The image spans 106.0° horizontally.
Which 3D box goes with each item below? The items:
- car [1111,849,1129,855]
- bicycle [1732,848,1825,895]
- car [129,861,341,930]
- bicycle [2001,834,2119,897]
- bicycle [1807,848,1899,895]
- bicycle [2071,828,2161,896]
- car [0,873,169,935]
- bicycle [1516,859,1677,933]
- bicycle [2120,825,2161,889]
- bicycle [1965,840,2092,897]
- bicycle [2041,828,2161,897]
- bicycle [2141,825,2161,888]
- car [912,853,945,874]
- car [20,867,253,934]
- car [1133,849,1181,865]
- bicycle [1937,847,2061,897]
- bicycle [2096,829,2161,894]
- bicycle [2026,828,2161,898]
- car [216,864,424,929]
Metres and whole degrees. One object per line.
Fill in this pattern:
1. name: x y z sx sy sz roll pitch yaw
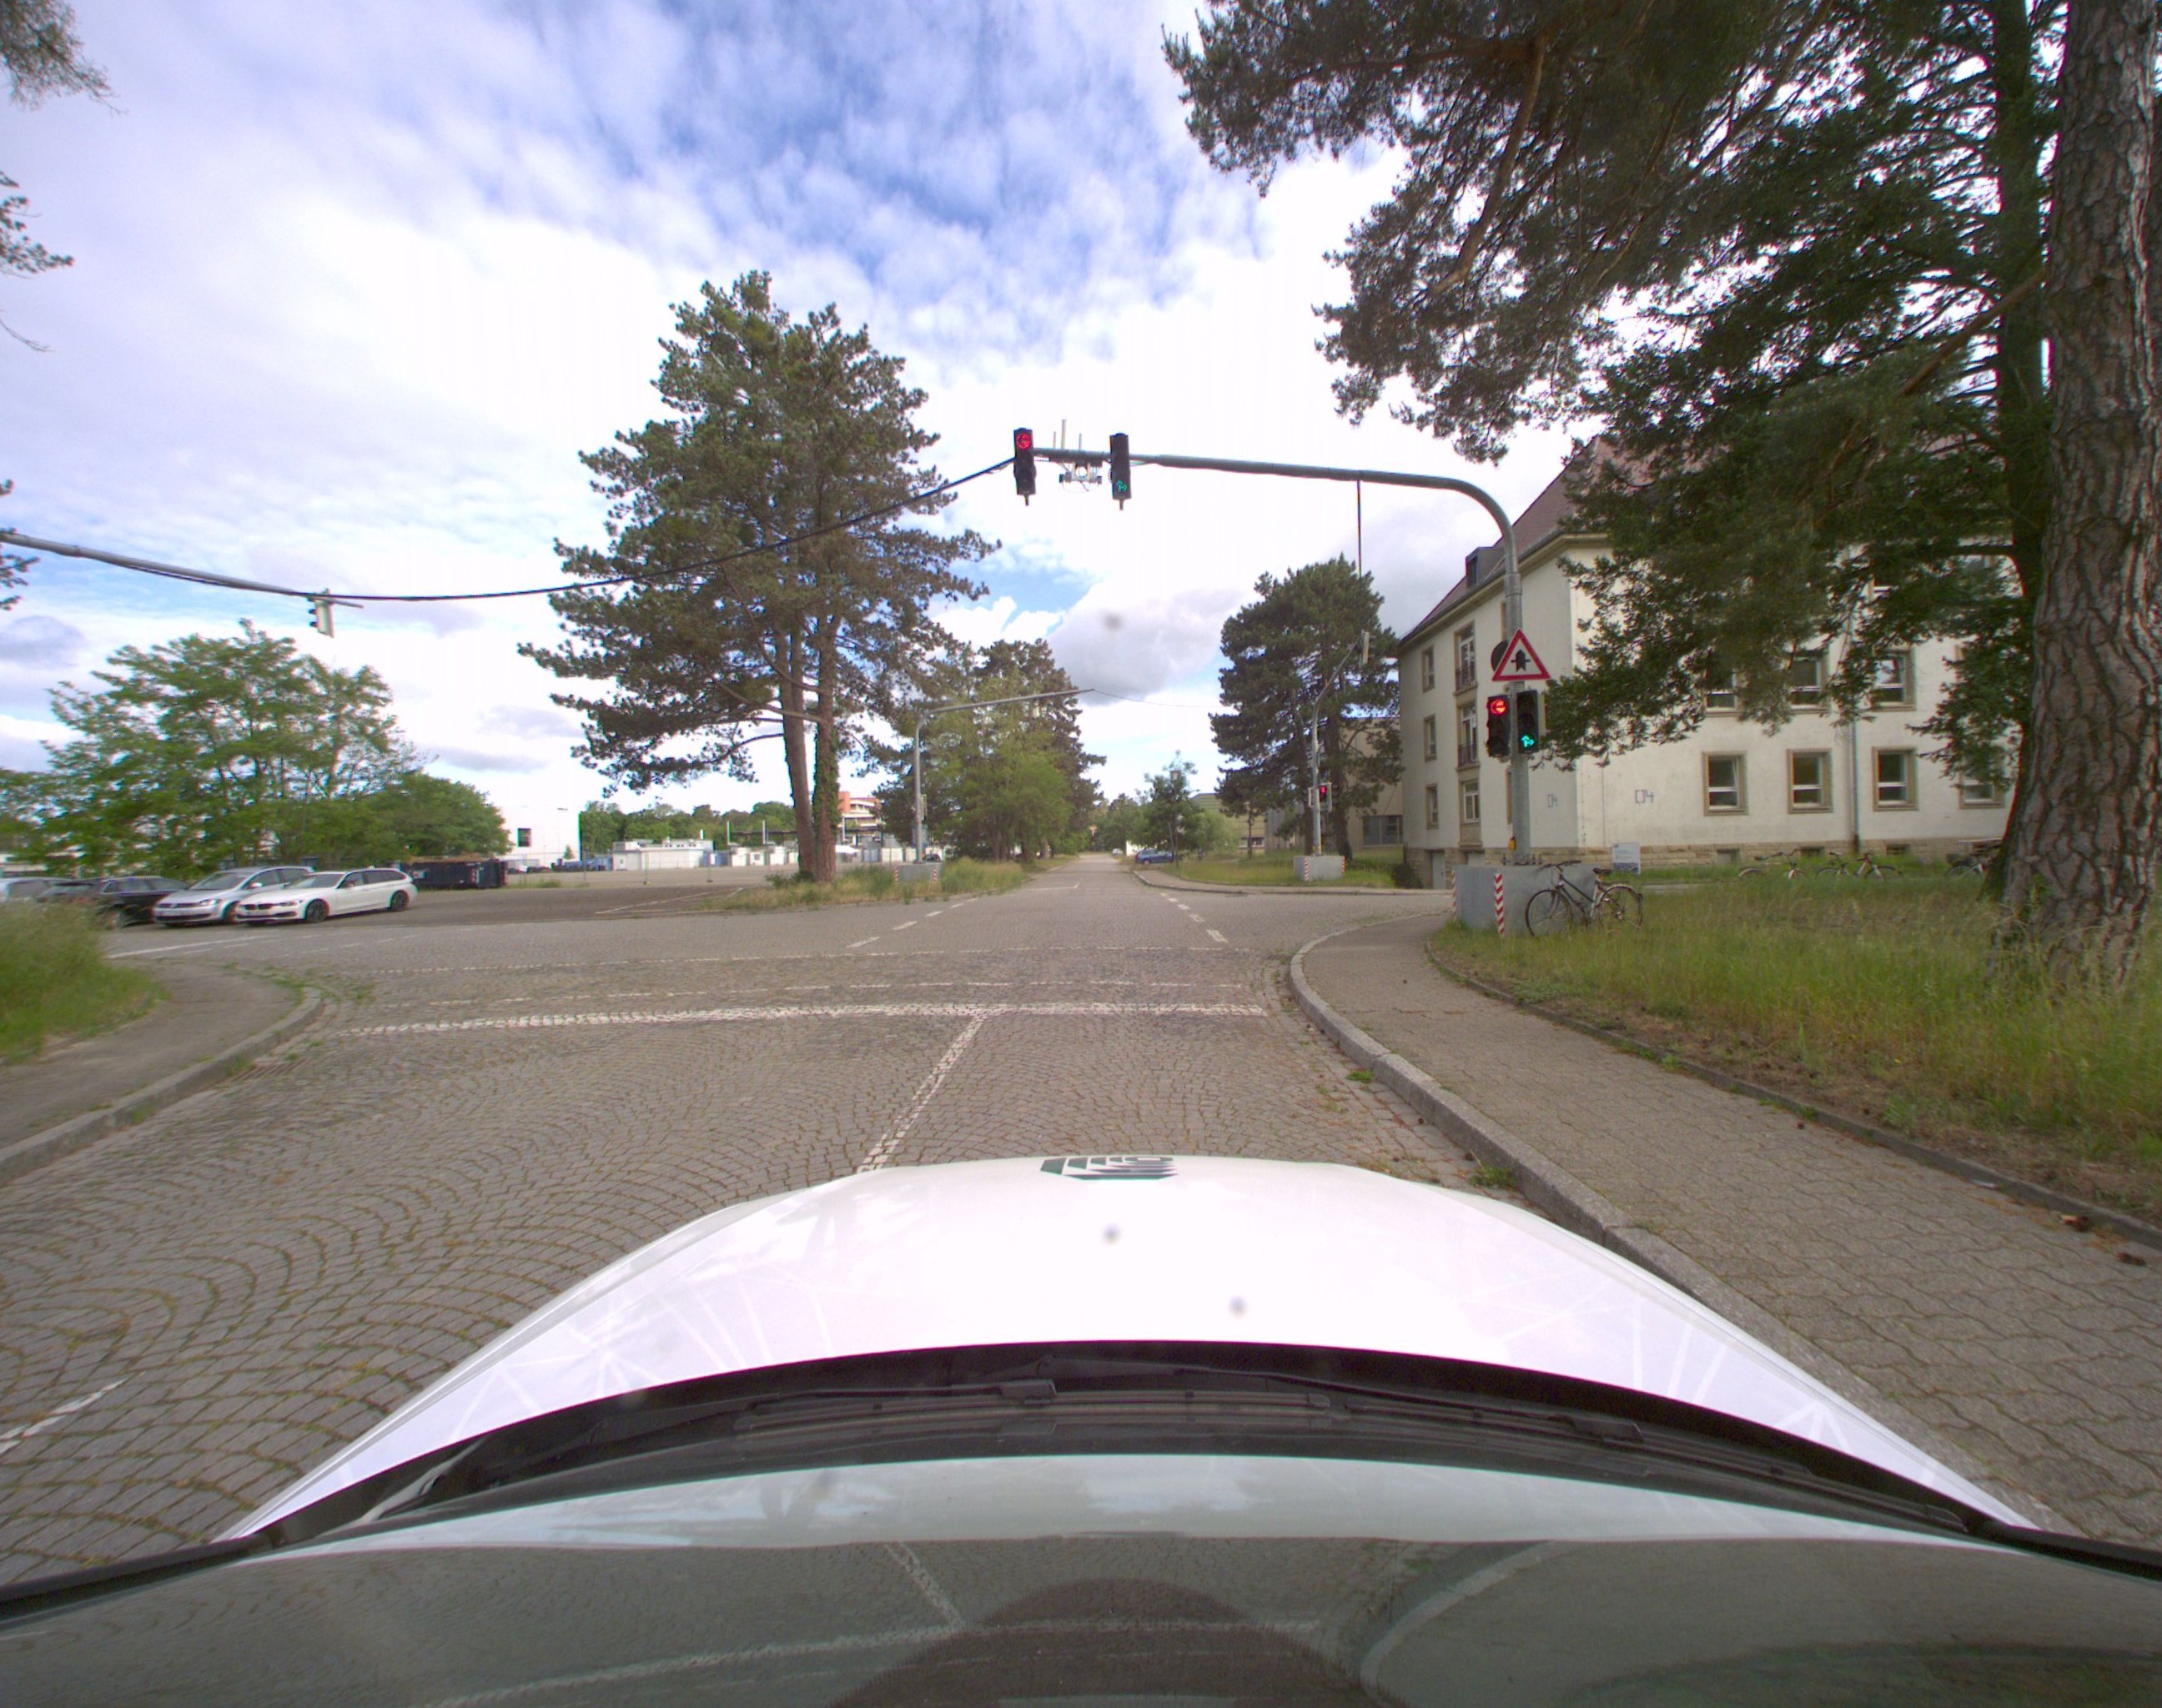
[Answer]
1. car: 9.216 -0.480 193.546 3.980 1.398 1.997 -2 0 -5
2. bicycle: 15.398 0.385 17.996 1.615 0.980 0.530 -1 0 0
3. car: -25.073 1.143 24.425 1.817 1.584 4.324 -2 3 -2
4. bicycle: 19.884 0.222 16.584 0.538 1.215 1.642 -1 0 6
5. bicycle: 17.155 0.382 18.111 1.531 1.014 0.543 -1 0 0
6. bicycle: 21.542 0.149 16.620 0.503 1.320 1.923 -1 0 6
7. car: -30.510 1.446 24.280 1.788 1.566 4.323 -2 0 -2
8. bicycle: 6.611 0.532 10.488 1.693 0.874 0.573 -2 0 1
9. bicycle: 22.517 0.063 16.550 0.552 1.320 1.856 -1 0 6
10. bicycle: 19.310 0.270 16.663 0.538 1.101 1.905 -1 0 6
11. bicycle: 20.954 0.153 16.605 0.573 1.320 1.979 -1 0 6
12. bicycle: 23.127 0.055 16.646 0.550 1.320 1.942 -1 0 6
13. car: -11.533 0.723 61.790 1.607 1.487 4.001 -1 0 1
14. car: -27.835 1.292 24.273 1.850 1.501 4.324 -2 3 -2
15. car: 7.128 0.272 76.452 4.331 1.422 1.999 -2 0 -1
16. bicycle: 18.659 0.345 16.619 0.538 0.949 1.905 -1 0 6
17. bicycle: 21.990 0.144 16.587 0.389 1.320 1.922 -1 0 7
18. bicycle: 20.383 0.158 16.418 0.435 1.320 2.051 -1 0 7
19. car: -22.578 1.183 24.502 1.805 1.441 4.739 -1 2 -1
